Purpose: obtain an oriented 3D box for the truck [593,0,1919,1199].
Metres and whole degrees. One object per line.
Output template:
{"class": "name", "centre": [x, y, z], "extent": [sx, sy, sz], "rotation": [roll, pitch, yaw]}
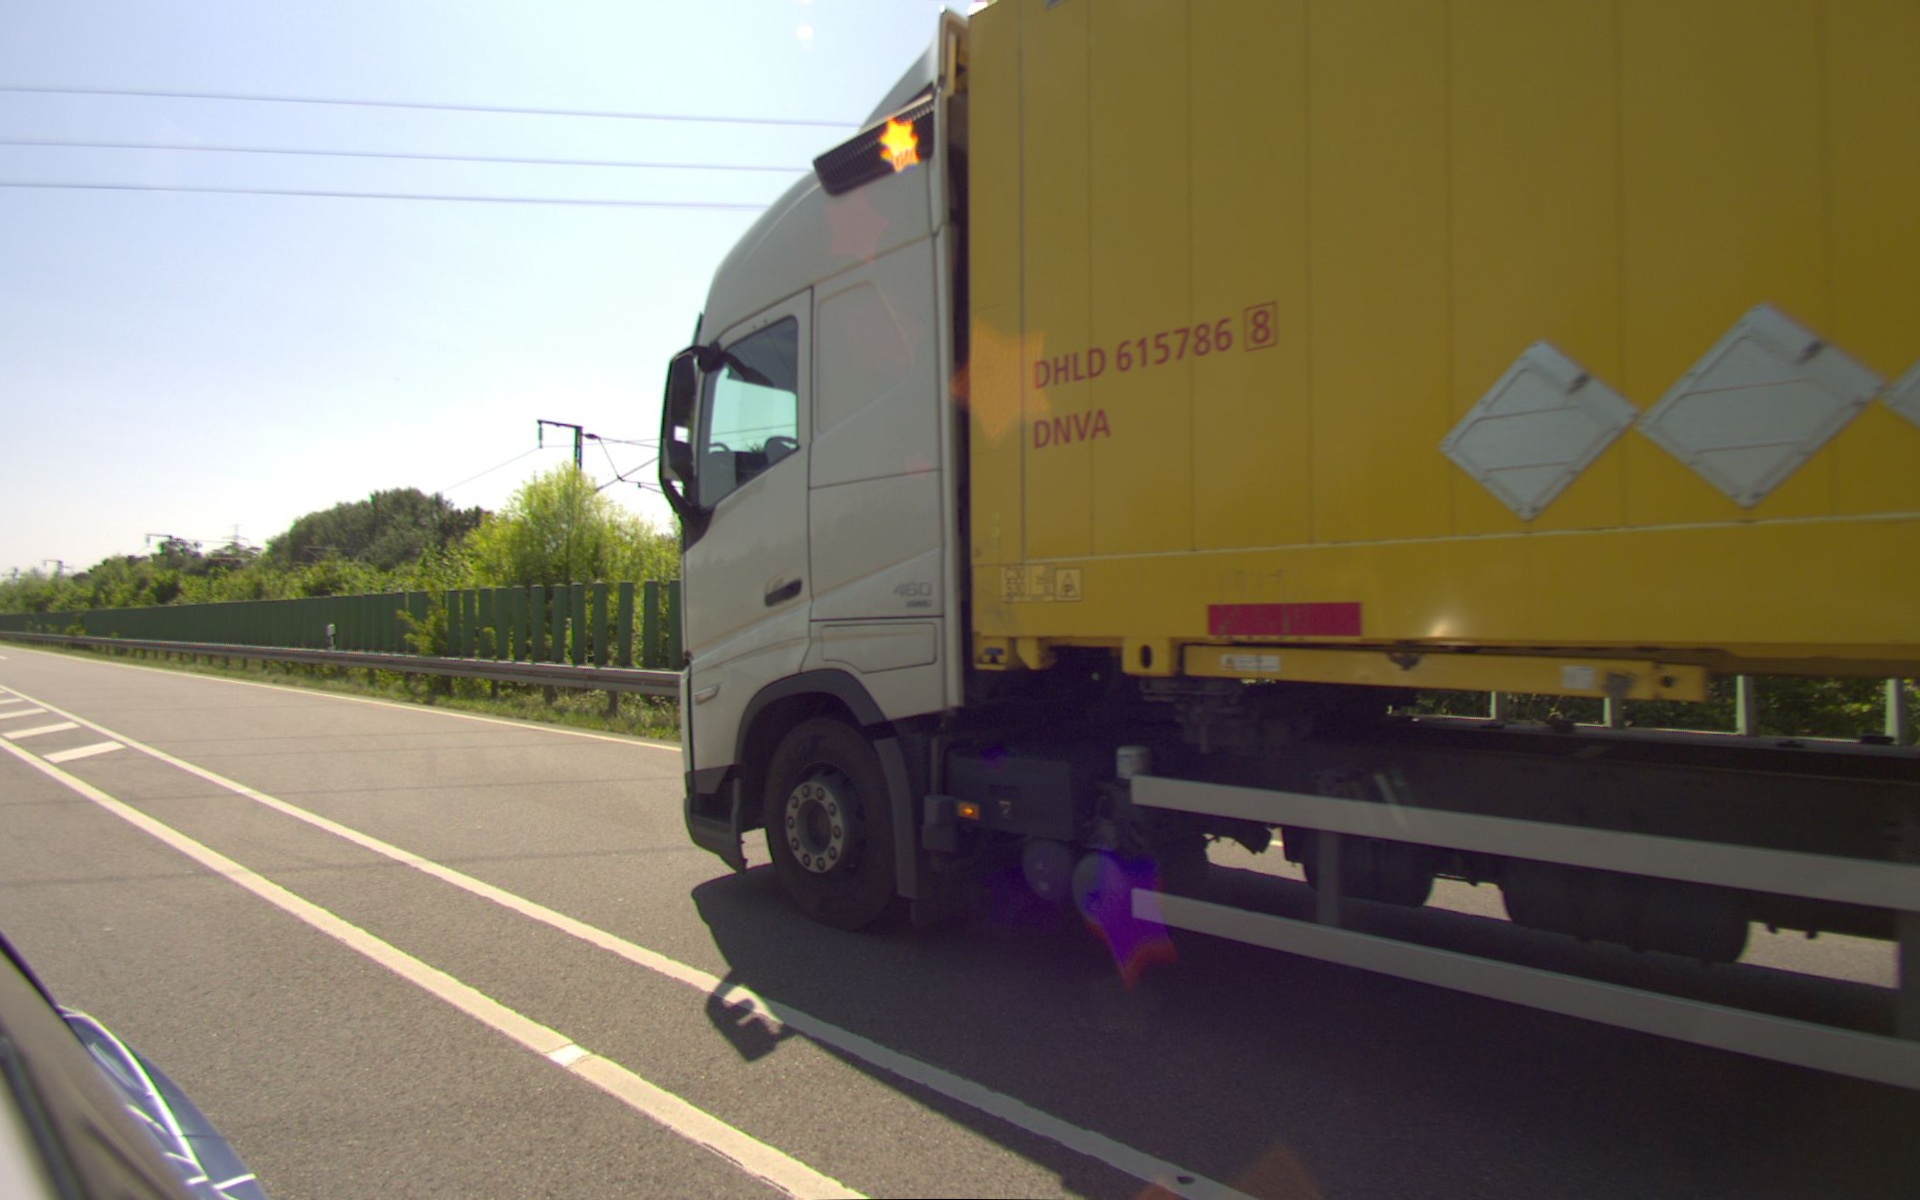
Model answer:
{"class": "truck", "centre": [2.705, -0.656, 3.125], "extent": [10.600, 4.160, 2.521], "rotation": [-1, -1, 42]}
